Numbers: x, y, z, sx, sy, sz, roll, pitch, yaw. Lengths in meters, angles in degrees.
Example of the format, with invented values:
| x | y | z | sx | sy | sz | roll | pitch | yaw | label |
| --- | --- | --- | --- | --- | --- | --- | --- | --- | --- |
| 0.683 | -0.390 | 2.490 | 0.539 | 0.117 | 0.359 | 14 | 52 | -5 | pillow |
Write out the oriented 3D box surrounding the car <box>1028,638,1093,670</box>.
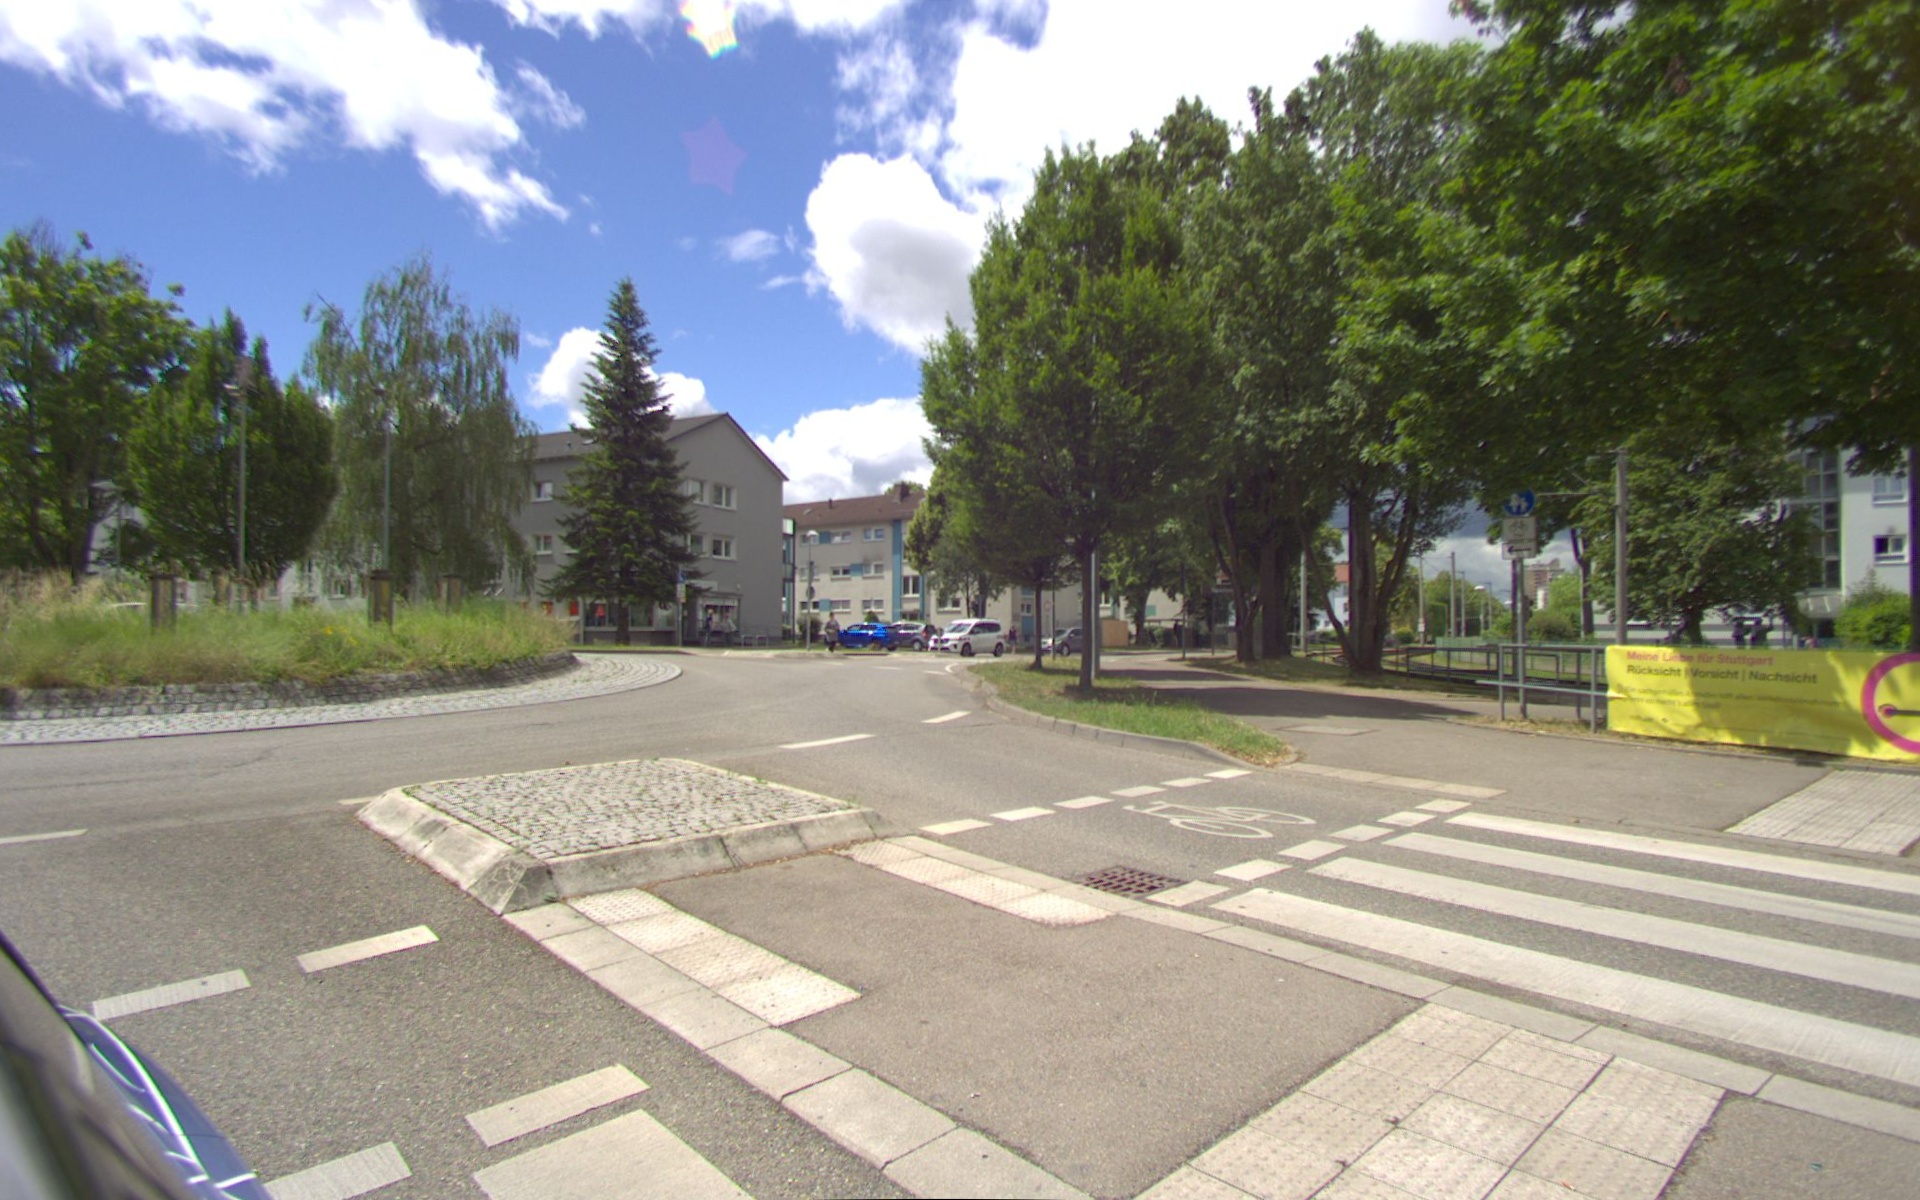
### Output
| x | y | z | sx | sy | sz | roll | pitch | yaw | label |
| --- | --- | --- | --- | --- | --- | --- | --- | --- | --- |
| 5.543 | 2.898 | 55.189 | 1.994 | 1.620 | 3.956 | -1 | -2 | 32 | car |

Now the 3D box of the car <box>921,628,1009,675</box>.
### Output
| x | y | z | sx | sy | sz | roll | pitch | yaw | label |
| --- | --- | --- | --- | --- | --- | --- | --- | --- | --- |
| 0.290 | 2.392 | 47.329 | 1.995 | 2.066 | 4.391 | -3 | -4 | 34 | car |

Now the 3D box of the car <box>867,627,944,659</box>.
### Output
| x | y | z | sx | sy | sz | roll | pitch | yaw | label |
| --- | --- | --- | --- | --- | --- | --- | --- | --- | --- |
| -3.019 | 2.346 | 55.847 | 3.723 | 1.569 | 2.013 | 1 | -2 | 28 | car |

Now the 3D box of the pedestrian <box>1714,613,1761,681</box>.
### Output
| x | y | z | sx | sy | sz | roll | pitch | yaw | label |
| --- | --- | --- | --- | --- | --- | --- | --- | --- | --- |
| 23.396 | 1.403 | 30.451 | 0.963 | 2.029 | 0.732 | 1 | -2 | -25 | pedestrian |

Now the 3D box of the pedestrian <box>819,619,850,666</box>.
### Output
| x | y | z | sx | sy | sz | roll | pitch | yaw | label |
| --- | --- | --- | --- | --- | --- | --- | --- | --- | --- |
| -4.884 | 1.657 | 39.460 | 0.870 | 1.812 | 0.901 | 0 | -2 | 22 | pedestrian |

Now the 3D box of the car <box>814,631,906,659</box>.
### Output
| x | y | z | sx | sy | sz | roll | pitch | yaw | label |
| --- | --- | --- | --- | --- | --- | --- | --- | --- | --- |
| -5.272 | 2.368 | 53.386 | 4.473 | 1.253 | 1.983 | 2 | -1 | 26 | car |

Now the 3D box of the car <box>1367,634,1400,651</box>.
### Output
| x | y | z | sx | sy | sz | roll | pitch | yaw | label |
| --- | --- | --- | --- | --- | --- | --- | --- | --- | --- |
| 42.714 | 4.279 | 102.060 | 1.998 | 1.713 | 3.946 | -4 | -4 | 40 | car |

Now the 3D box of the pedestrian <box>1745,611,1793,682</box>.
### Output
| x | y | z | sx | sy | sz | roll | pitch | yaw | label |
| --- | --- | --- | --- | --- | --- | --- | --- | --- | --- |
| 23.754 | 1.356 | 29.729 | 0.963 | 2.029 | 0.732 | 1 | -2 | -25 | pedestrian |
